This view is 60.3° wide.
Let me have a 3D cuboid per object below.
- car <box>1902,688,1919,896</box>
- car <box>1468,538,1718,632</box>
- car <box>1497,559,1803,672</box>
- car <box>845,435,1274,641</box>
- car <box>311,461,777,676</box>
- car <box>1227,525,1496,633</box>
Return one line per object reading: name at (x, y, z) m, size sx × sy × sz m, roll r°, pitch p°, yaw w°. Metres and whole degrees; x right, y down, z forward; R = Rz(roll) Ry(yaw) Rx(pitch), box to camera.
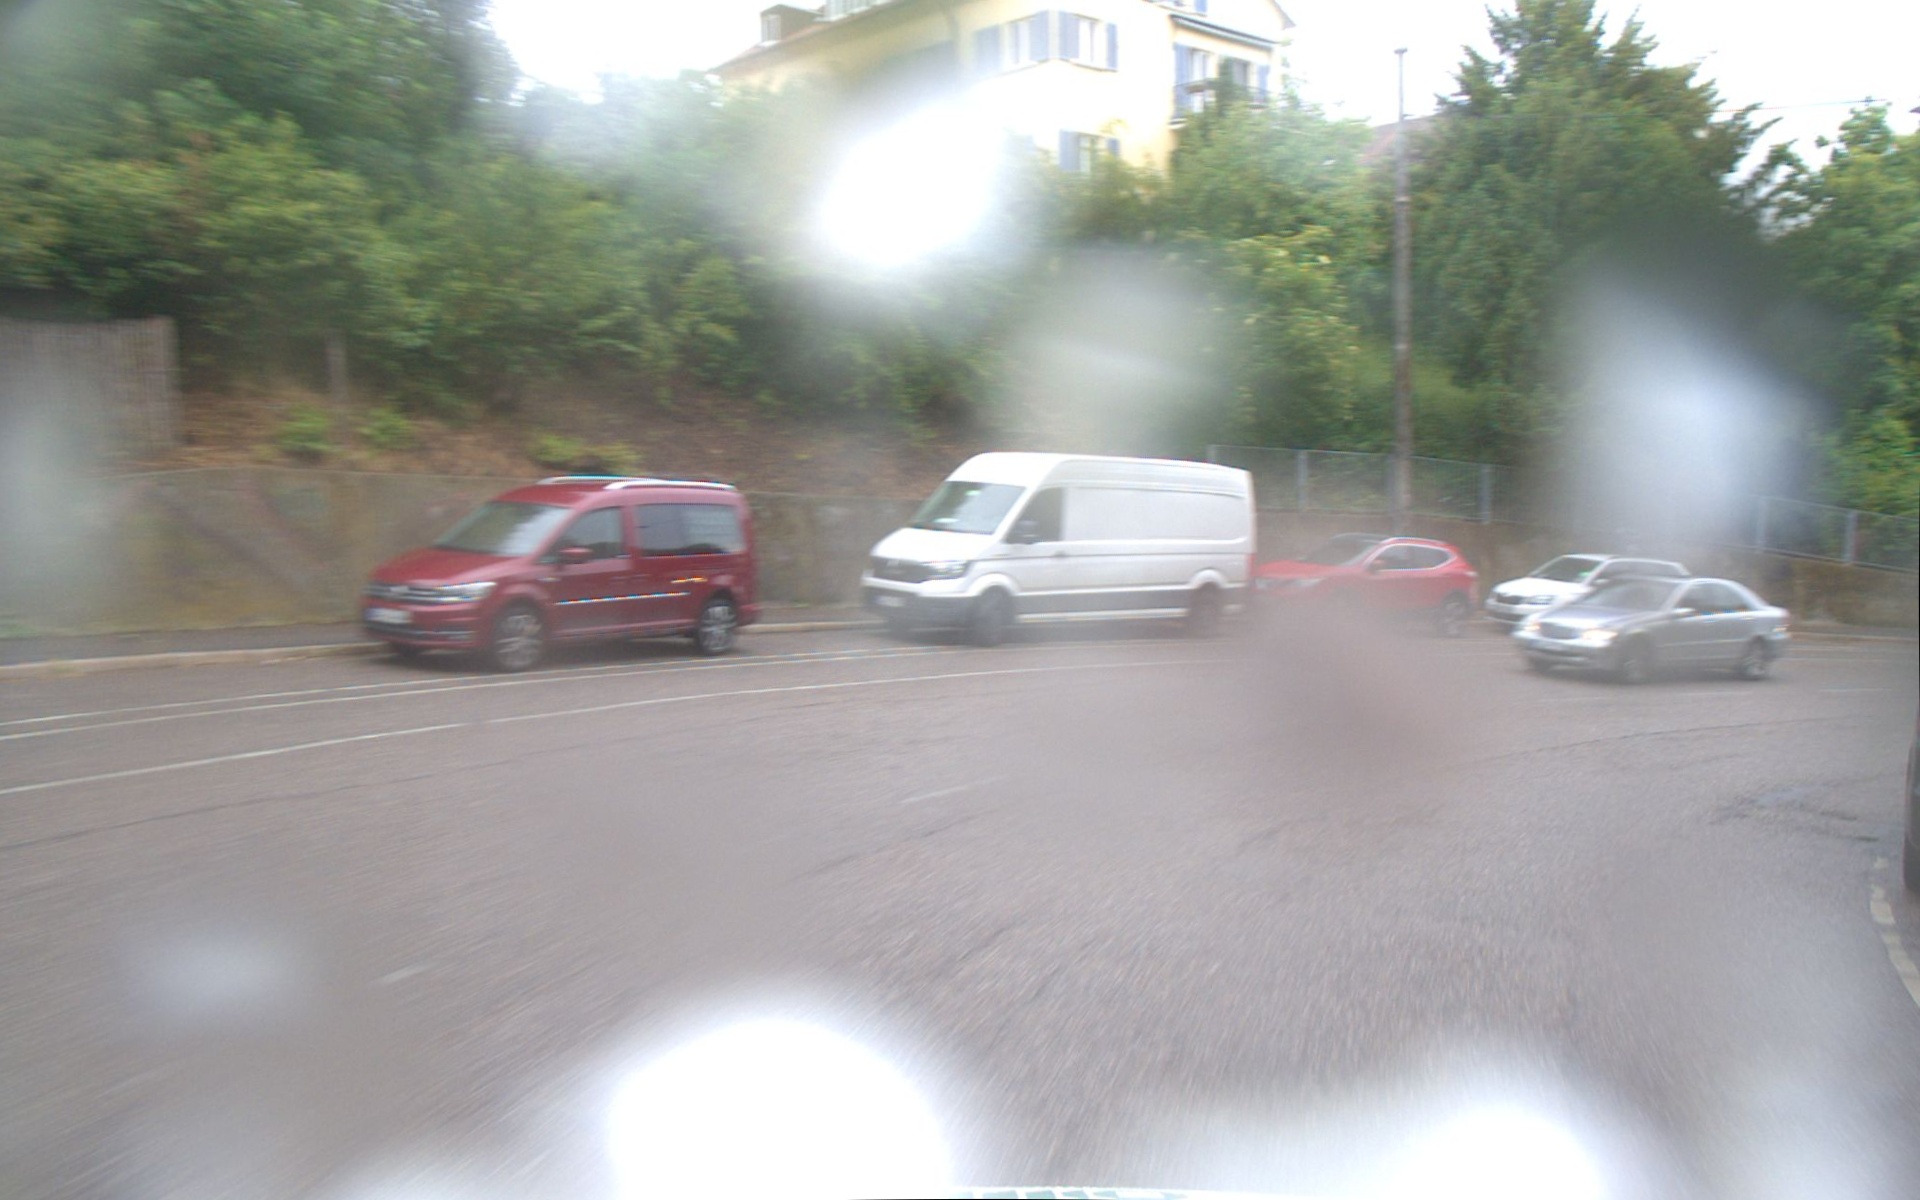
car at (7.373, 0.692, 10.556) m, size 1.959 × 1.918 × 5.022 m, roll 6°, pitch 4°, yaw 33°
car at (11.500, -0.273, 30.054) m, size 4.127 × 1.504 × 1.733 m, roll 1°, pitch 5°, yaw -23°
car at (9.820, 0.203, 23.461) m, size 4.279 × 1.409 × 1.773 m, roll 1°, pitch 3°, yaw -30°
car at (1.631, -0.887, 23.838) m, size 6.768 × 2.573 × 2.010 m, roll -1°, pitch 5°, yaw -43°
car at (-4.222, -0.393, 17.627) m, size 1.958 × 1.908 × 4.811 m, roll 4°, pitch 4°, yaw 31°
car at (6.720, -0.360, 27.580) m, size 4.375 × 1.612 × 1.763 m, roll 0°, pitch 4°, yaw -32°
